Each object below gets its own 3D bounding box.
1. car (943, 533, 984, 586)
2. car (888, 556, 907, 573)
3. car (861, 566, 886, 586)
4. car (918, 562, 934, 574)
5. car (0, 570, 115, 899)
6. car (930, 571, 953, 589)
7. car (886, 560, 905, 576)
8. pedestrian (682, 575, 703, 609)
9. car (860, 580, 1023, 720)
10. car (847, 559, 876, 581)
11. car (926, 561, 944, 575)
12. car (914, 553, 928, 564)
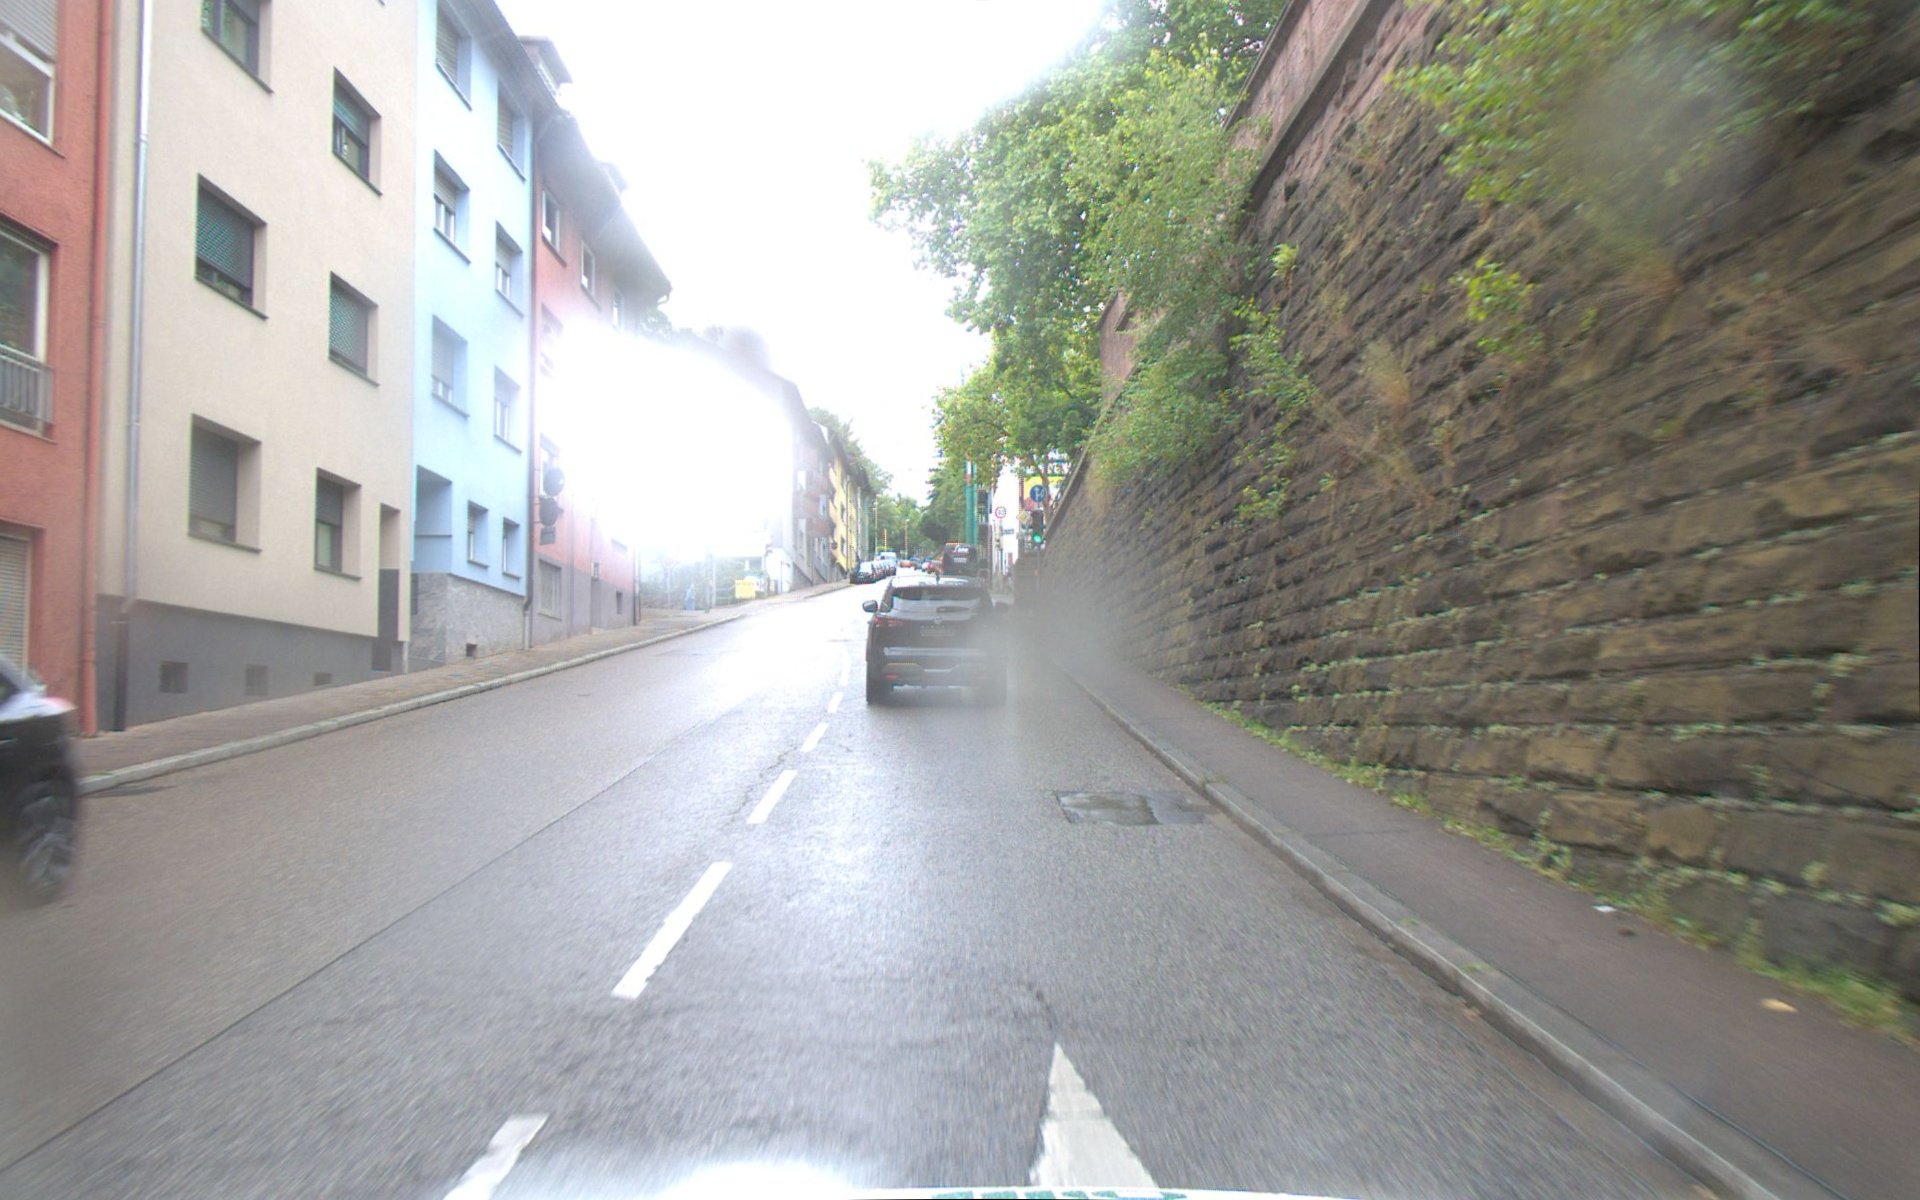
[{"bbox_3d":[0.218,-2.028,85.029,1.952,2.456,5.837,1,-1,1],"label":"car"},{"bbox_3d":[-6.777,-3.830,179.783,1.950,1.786,4.479,-1,2,-2],"label":"car"},{"bbox_3d":[-7.763,-2.204,148.666,1.952,1.678,4.443,-1,2,1],"label":"car"},{"bbox_3d":[-4.525,-4.286,219.399,2.033,1.586,3.999,0,2,-2],"label":"car"},{"bbox_3d":[-5.367,0.660,6.549,1.953,1.504,3.999,-3,0,-1],"label":"car"},{"bbox_3d":[-1.706,-1.881,153.757,2.033,1.586,3.999,0,2,-2],"label":"car"},{"bbox_3d":[-6.690,-3.318,172.507,1.950,1.612,4.304,-1,2,-2],"label":"car"},{"bbox_3d":[-12.521,-0.351,77.542,0.852,1.568,1.086,1,-1,-4],"label":"pedestrian"},{"bbox_3d":[-0.250,0.584,22.109,1.953,1.586,4.000,1,2,-1],"label":"car"},{"bbox_3d":[-7.874,-2.390,132.262,1.952,1.678,4.443,-1,2,1],"label":"car"},{"bbox_3d":[-2.853,-3.659,190.033,2.033,1.586,3.999,0,2,-2],"label":"car"},{"bbox_3d":[-5.810,-6.258,247.451,2.033,1.586,3.999,0,2,-2],"label":"car"}]
